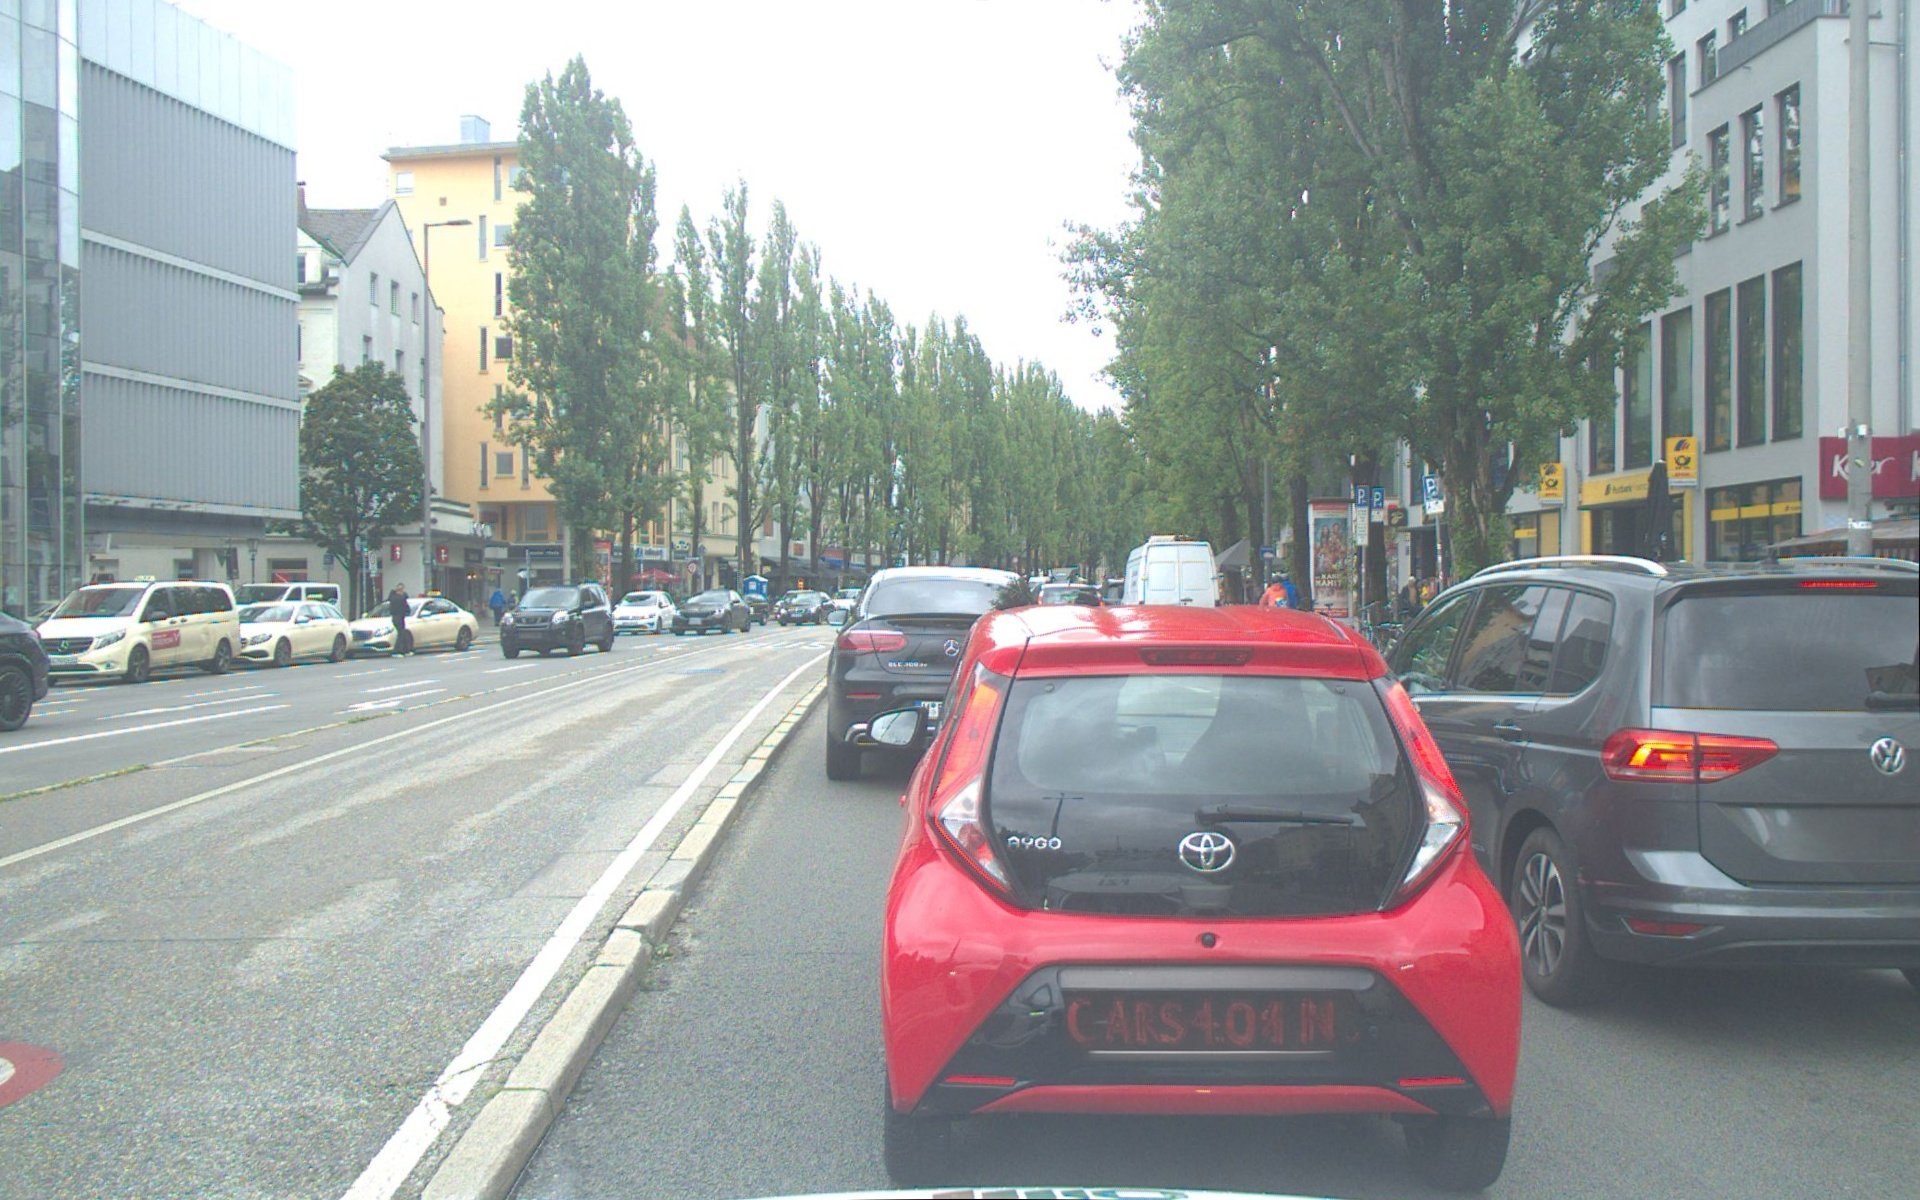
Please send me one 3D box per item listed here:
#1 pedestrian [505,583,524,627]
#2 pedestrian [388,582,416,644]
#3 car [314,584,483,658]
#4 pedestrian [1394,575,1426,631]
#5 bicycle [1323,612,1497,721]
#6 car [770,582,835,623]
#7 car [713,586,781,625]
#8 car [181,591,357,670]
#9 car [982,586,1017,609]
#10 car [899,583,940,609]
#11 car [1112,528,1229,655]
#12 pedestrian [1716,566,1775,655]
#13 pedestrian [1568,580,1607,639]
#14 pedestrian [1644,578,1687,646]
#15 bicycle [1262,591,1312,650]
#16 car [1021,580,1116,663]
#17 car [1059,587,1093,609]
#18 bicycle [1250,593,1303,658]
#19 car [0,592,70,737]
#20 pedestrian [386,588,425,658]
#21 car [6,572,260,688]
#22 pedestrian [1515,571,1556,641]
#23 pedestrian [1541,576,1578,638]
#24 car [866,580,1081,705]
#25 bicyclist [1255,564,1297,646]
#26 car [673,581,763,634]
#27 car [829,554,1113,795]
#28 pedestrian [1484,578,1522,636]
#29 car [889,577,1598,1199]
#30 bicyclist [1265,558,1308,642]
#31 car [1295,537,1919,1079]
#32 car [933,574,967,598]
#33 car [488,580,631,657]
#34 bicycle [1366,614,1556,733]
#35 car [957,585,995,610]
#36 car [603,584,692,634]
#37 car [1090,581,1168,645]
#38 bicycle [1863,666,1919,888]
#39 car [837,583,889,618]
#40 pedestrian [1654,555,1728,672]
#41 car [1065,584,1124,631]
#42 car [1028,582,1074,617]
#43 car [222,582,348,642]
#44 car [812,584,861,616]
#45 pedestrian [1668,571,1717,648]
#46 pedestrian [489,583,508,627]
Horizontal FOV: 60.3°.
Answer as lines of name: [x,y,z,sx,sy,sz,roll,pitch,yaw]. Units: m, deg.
pedestrian: [-20.667,0.234,76.768,0.673,2.032,0.765,0,0,-2]
pedestrian: [-16.833,0.378,49.869,0.545,1.849,0.628,0,0,9]
car: [-14.705,0.499,43.618,1.951,1.848,4.536,0,0,17]
pedestrian: [13.106,0.075,48.186,0.748,1.621,0.676,0,0,-2]
bicycle: [5.043,0.726,18.588,1.800,1.156,0.584,0,0,35]
car: [-6.884,0.072,72.876,1.951,1.721,4.924,0,0,5]
car: [-9.826,0.224,76.663,1.951,1.721,4.925,-1,1,7]
car: [-15.676,0.639,37.800,1.952,1.684,4.534,0,0,2]
car: [3.018,-0.206,125.231,1.951,1.721,4.418,-1,1,11]
car: [-2.752,-0.313,113.133,1.951,1.721,4.418,-1,1,11]
car: [4.874,-0.209,38.980,2.064,2.766,4.803,-1,0,-1]
pedestrian: [14.623,0.195,30.799,0.718,1.630,0.741,-1,0,-2]
pedestrian: [14.301,0.218,37.690,0.625,1.329,0.676,-1,0,-2]
pedestrian: [16.473,0.273,38.613,0.699,1.585,0.676,0,0,-2]
bicycle: [7.553,0.458,38.325,0.601,1.287,2.519,-1,1,-1]
car: [2.225,0.411,34.588,1.668,1.617,3.555,0,0,-2]
car: [7.893,-0.154,112.636,1.735,1.464,3.942,0,1,13]
bicycle: [6.680,0.514,35.008,0.601,1.287,2.519,-1,1,-1]
car: [-11.471,0.721,16.856,1.951,1.561,4.591,-1,0,6]
pedestrian: [-13.891,0.560,41.413,0.681,1.727,0.624,-1,0,30]
car: [-15.900,0.516,32.217,1.952,2.049,5.525,0,0,3]
pedestrian: [13.349,0.136,38.380,0.699,1.585,0.676,-1,0,-2]
pedestrian: [15.529,0.178,42.853,0.699,1.585,0.676,-1,0,-2]
car: [0.287,0.528,22.230,1.879,1.512,3.920,0,0,16]
bicyclist: [6.658,0.093,34.880,0.601,1.686,1.251,-1,0,-1]
car: [-8.238,0.229,56.773,1.951,1.721,4.924,-1,1,5]
car: [0.008,0.511,13.573,1.953,1.646,3.998,1,0,-2]
pedestrian: [12.563,0.161,38.267,0.625,1.329,0.676,-1,0,-2]
car: [0.617,0.689,5.260,1.572,1.487,3.129,1,0,-1]
bicyclist: [7.530,0.003,38.192,0.747,1.902,1.132,-1,0,-1]
car: [2.972,0.621,7.518,1.736,1.675,4.705,0,0,-3]
car: [-0.783,-1.131,135.532,1.951,1.967,4.418,0,0,11]
car: [-9.473,0.393,39.553,1.952,1.721,4.923,0,0,4]
bicycle: [5.170,0.738,17.124,1.800,1.156,0.584,0,0,35]
car: [1.161,-0.214,117.333,1.951,1.721,4.418,-1,1,11]
car: [-11.463,0.290,60.998,1.951,1.721,4.924,-1,1,5]
car: [4.582,0.336,45.264,1.668,1.691,3.555,0,0,-2]
bicycle: [5.427,0.889,7.981,1.805,1.070,0.583,0,1,41]
car: [-4.984,-0.016,85.692,1.951,1.721,4.924,-1,1,5]
pedestrian: [11.210,0.204,25.386,0.774,1.758,0.763,-1,0,-2]
car: [4.598,0.231,56.999,1.668,1.556,3.555,0,0,-2]
car: [3.915,-0.035,71.646,1.665,1.451,3.496,0,0,-2]
car: [-21.279,0.338,52.328,1.830,1.803,4.245,-1,1,7]
car: [-6.991,-0.012,94.198,1.951,1.721,4.924,-1,1,5]
pedestrian: [15.721,0.198,35.504,0.718,1.630,0.741,-1,0,-2]
pedestrian: [-21.419,0.211,76.723,0.673,2.032,0.765,0,0,-2]
